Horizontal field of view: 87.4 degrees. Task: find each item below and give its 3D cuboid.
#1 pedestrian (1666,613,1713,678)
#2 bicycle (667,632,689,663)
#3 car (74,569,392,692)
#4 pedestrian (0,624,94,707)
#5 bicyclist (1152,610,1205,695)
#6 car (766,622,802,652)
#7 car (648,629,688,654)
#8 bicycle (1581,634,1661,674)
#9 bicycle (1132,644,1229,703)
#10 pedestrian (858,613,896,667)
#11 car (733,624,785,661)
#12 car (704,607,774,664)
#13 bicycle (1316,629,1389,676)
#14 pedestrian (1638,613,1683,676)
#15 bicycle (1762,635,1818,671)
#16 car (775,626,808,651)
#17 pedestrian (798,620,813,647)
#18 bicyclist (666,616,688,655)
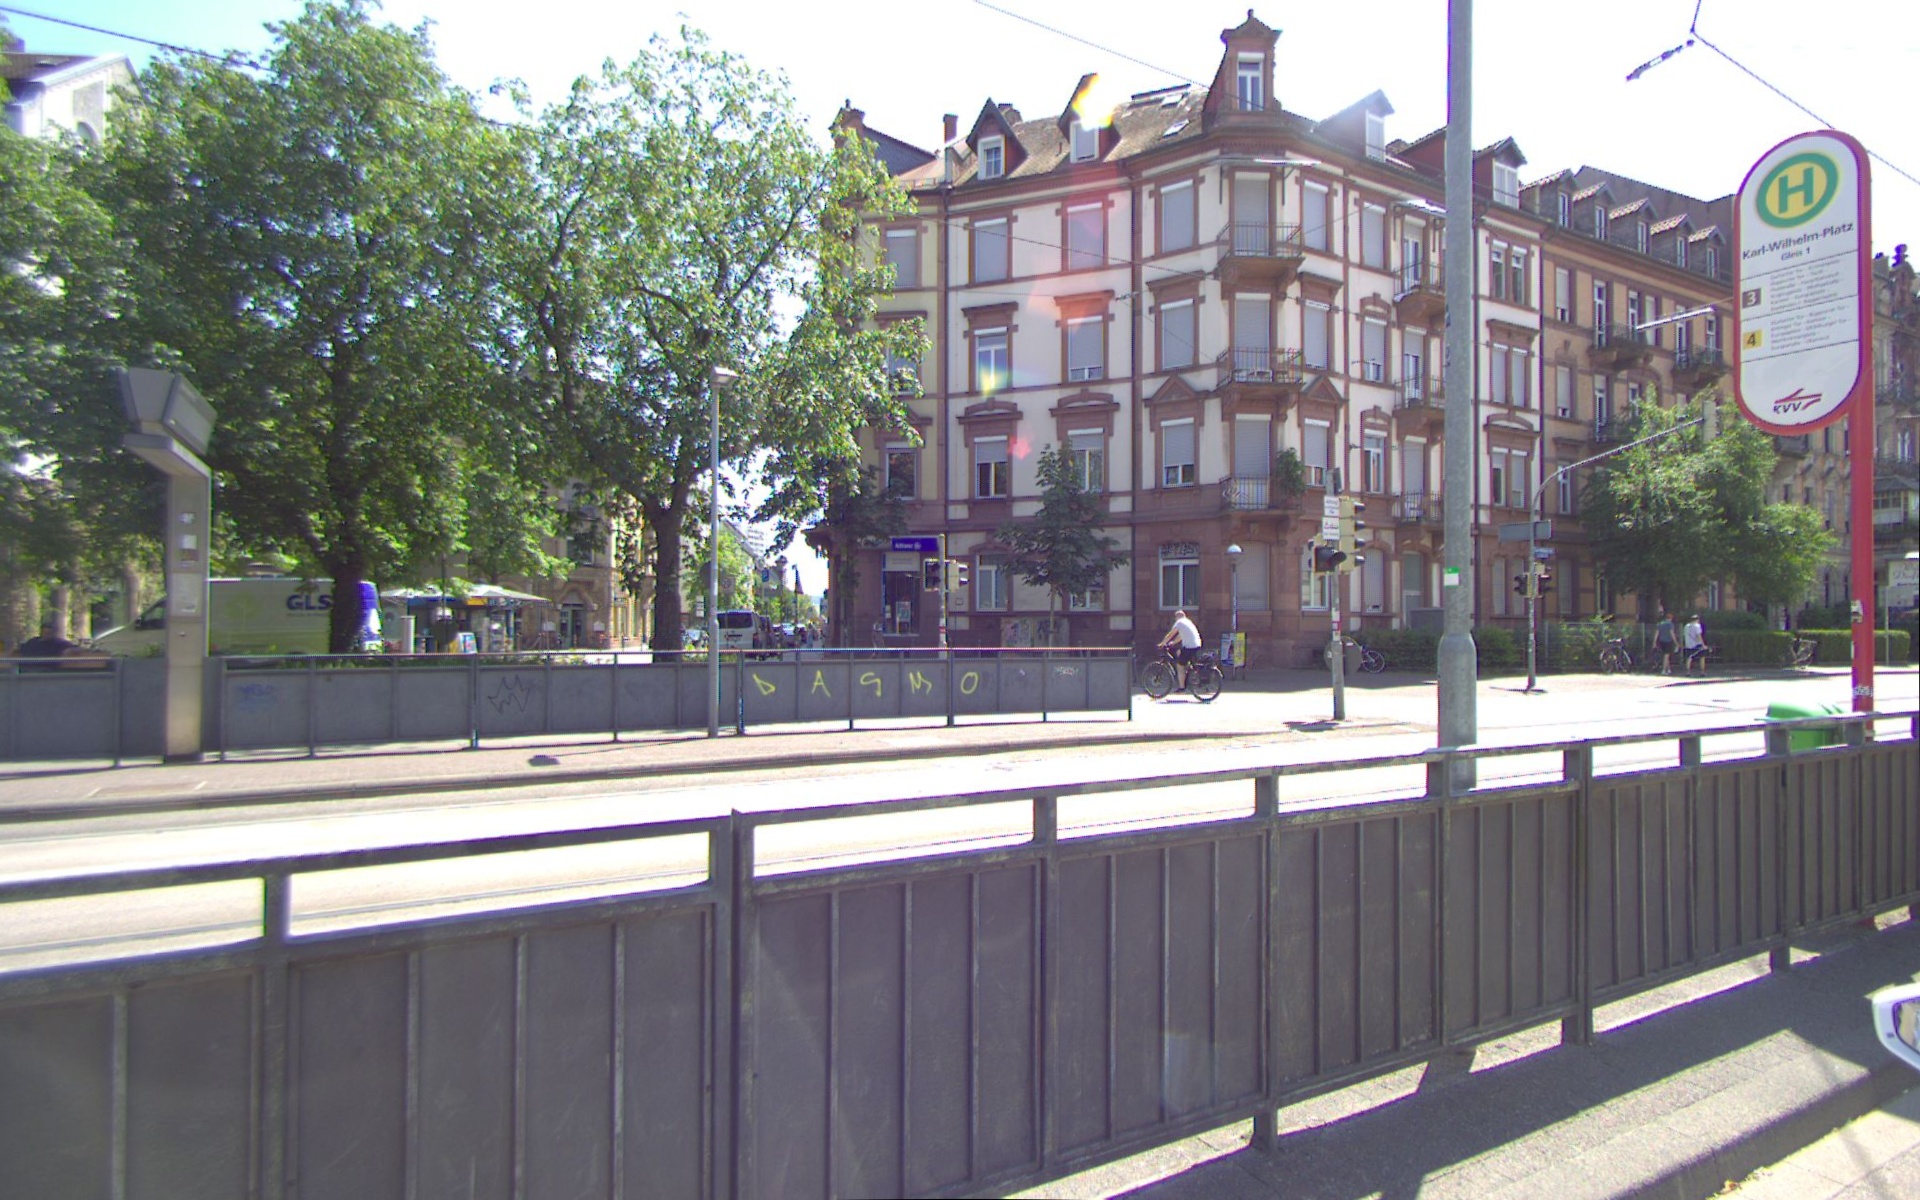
[{"bbox_3d":[21.598,1.328,29.738,0.862,1.847,0.813,0,1,-28],"label":"pedestrian"},{"bbox_3d":[-11.577,1.931,41.237,0.637,1.188,1.923,1,-1,-10],"label":"bicycle"},{"bbox_3d":[-17.363,0.733,24.350,5.725,2.709,2.269,2,0,-12],"label":"car"},{"bbox_3d":[-14.663,1.041,16.103,0.925,1.261,0.860,2,0,-24],"label":"pedestrian"},{"bbox_3d":[4.330,1.024,19.878,0.834,1.613,0.699,0,-1,29],"label":"bicyclist"},{"bbox_3d":[-10.377,2.173,59.451,1.684,1.617,3.998,2,0,-4],"label":"car"},{"bbox_3d":[-20.664,2.912,71.161,1.846,1.617,3.998,2,0,-4],"label":"car"},{"bbox_3d":[20.225,1.644,30.715,2.742,1.151,0.932,2,0,-31],"label":"bicycle"},{"bbox_3d":[4.357,1.433,19.862,1.734,1.070,0.699,0,-1,29],"label":"bicycle"},{"bbox_3d":[-2.669,1.292,32.323,1.040,1.712,0.723,0,-1,11],"label":"pedestrian"},{"bbox_3d":[-9.629,2.007,48.287,1.893,1.541,3.998,2,0,-4],"label":"car"},{"bbox_3d":[-8.332,1.296,38.215,1.962,1.970,3.998,2,0,-4],"label":"car"},{"bbox_3d":[11.662,1.556,29.861,1.923,1.312,0.564,2,0,11],"label":"bicycle"},{"bbox_3d":[21.200,1.324,30.402,0.862,1.847,0.813,0,1,-28],"label":"pedestrian"},{"bbox_3d":[28.514,1.801,34.494,2.750,1.151,0.930,2,0,-39],"label":"bicycle"},{"bbox_3d":[-12.488,2.839,74.755,1.962,1.617,3.998,2,0,-4],"label":"car"},{"bbox_3d":[-9.277,1.995,60.334,0.790,1.632,0.731,0,-1,-4],"label":"pedestrian"},{"bbox_3d":[-11.599,1.459,41.216,0.709,1.582,0.897,1,-1,-9],"label":"bicyclist"}]
